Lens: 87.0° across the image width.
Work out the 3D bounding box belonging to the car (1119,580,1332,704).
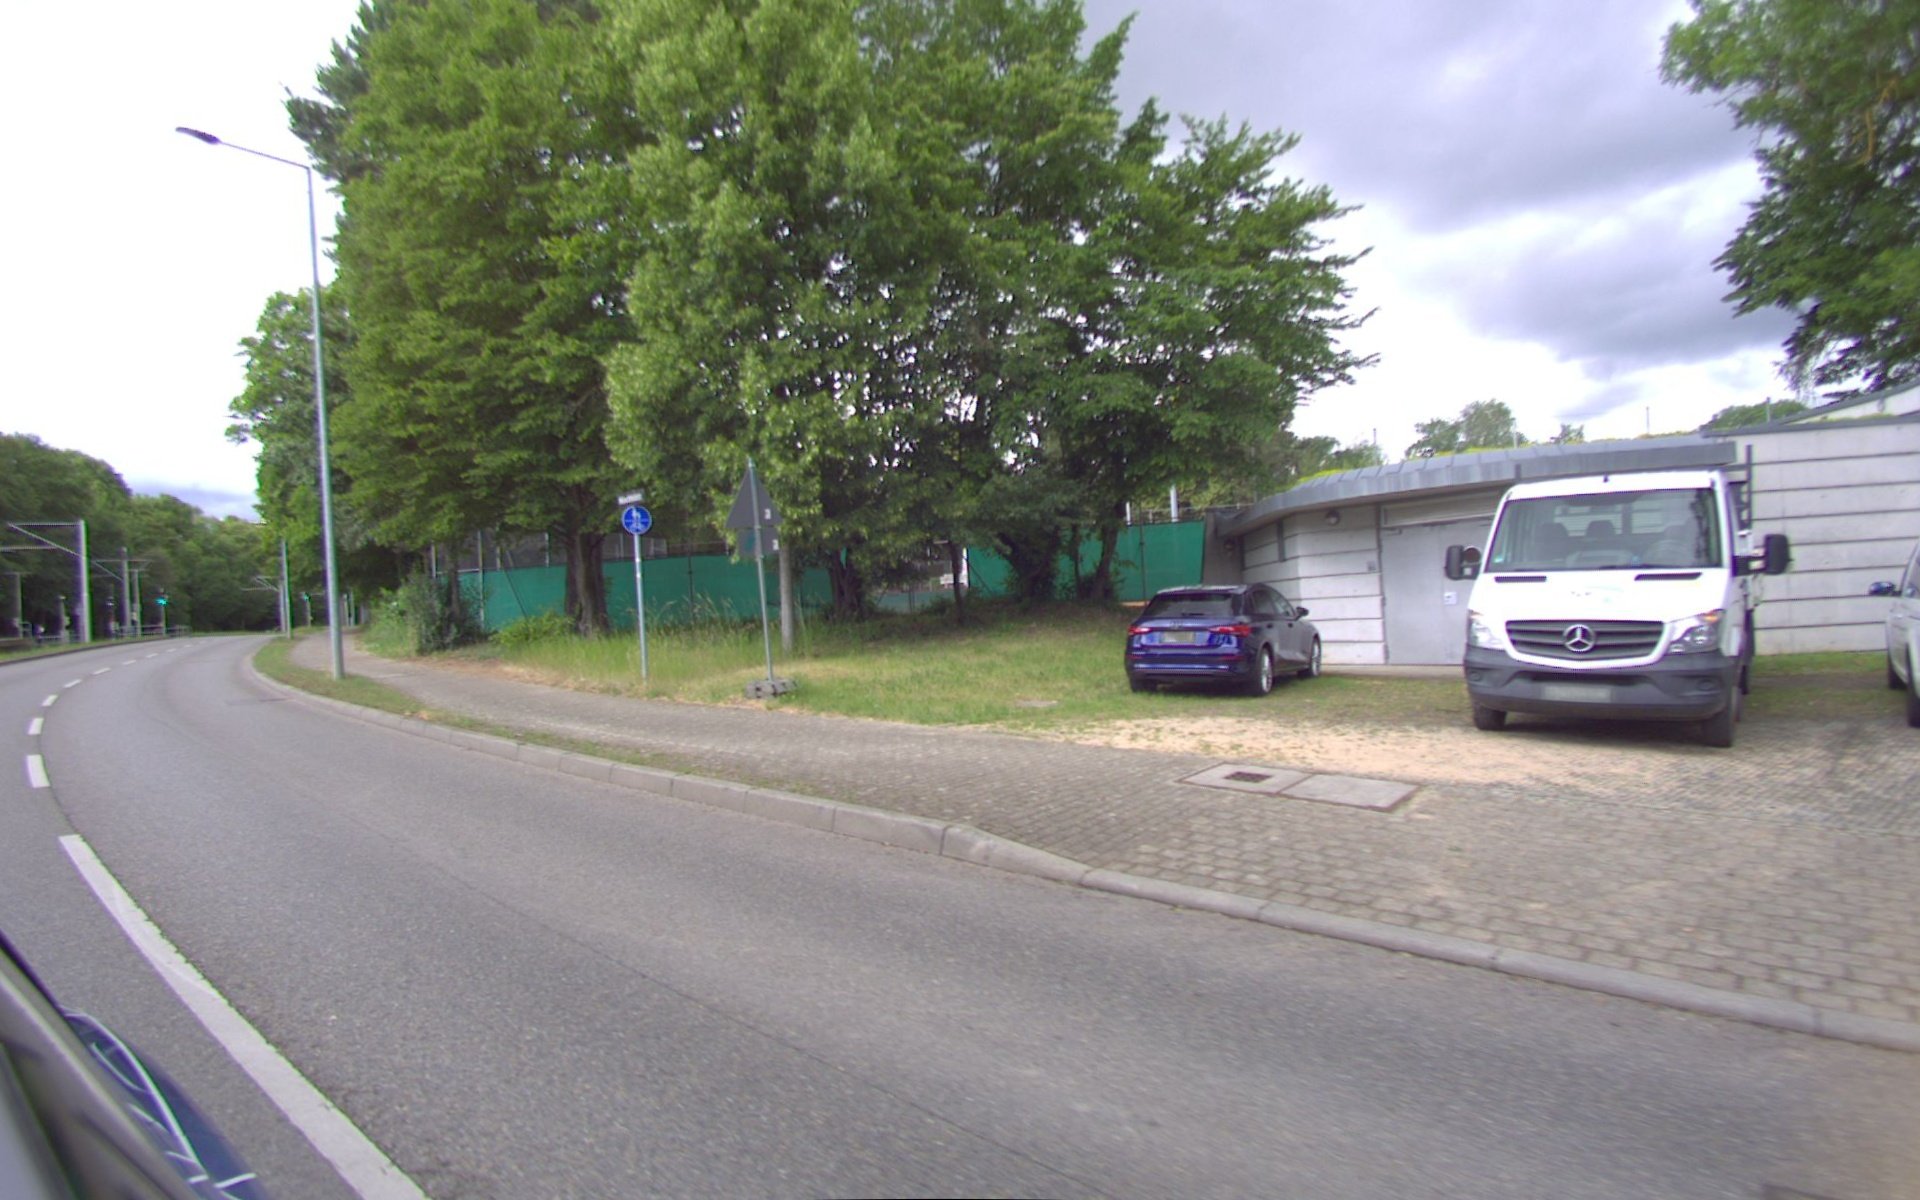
[{"bbox_3d":[3.722,0.437,13.710,1.712,1.336,3.957,1,3,32],"label":"car"}]

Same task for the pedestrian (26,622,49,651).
[{"bbox_3d":[-59.265,2.340,65.010,0.971,1.771,0.731,-4,0,-38],"label":"pedestrian"}]

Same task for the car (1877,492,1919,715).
[{"bbox_3d":[9.564,-0.040,8.968,1.779,1.923,3.950,-2,2,38],"label":"car"}]

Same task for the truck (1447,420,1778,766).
[{"bbox_3d":[6.834,-0.207,10.290,2.120,2.434,6.327,-1,3,38],"label":"truck"}]
